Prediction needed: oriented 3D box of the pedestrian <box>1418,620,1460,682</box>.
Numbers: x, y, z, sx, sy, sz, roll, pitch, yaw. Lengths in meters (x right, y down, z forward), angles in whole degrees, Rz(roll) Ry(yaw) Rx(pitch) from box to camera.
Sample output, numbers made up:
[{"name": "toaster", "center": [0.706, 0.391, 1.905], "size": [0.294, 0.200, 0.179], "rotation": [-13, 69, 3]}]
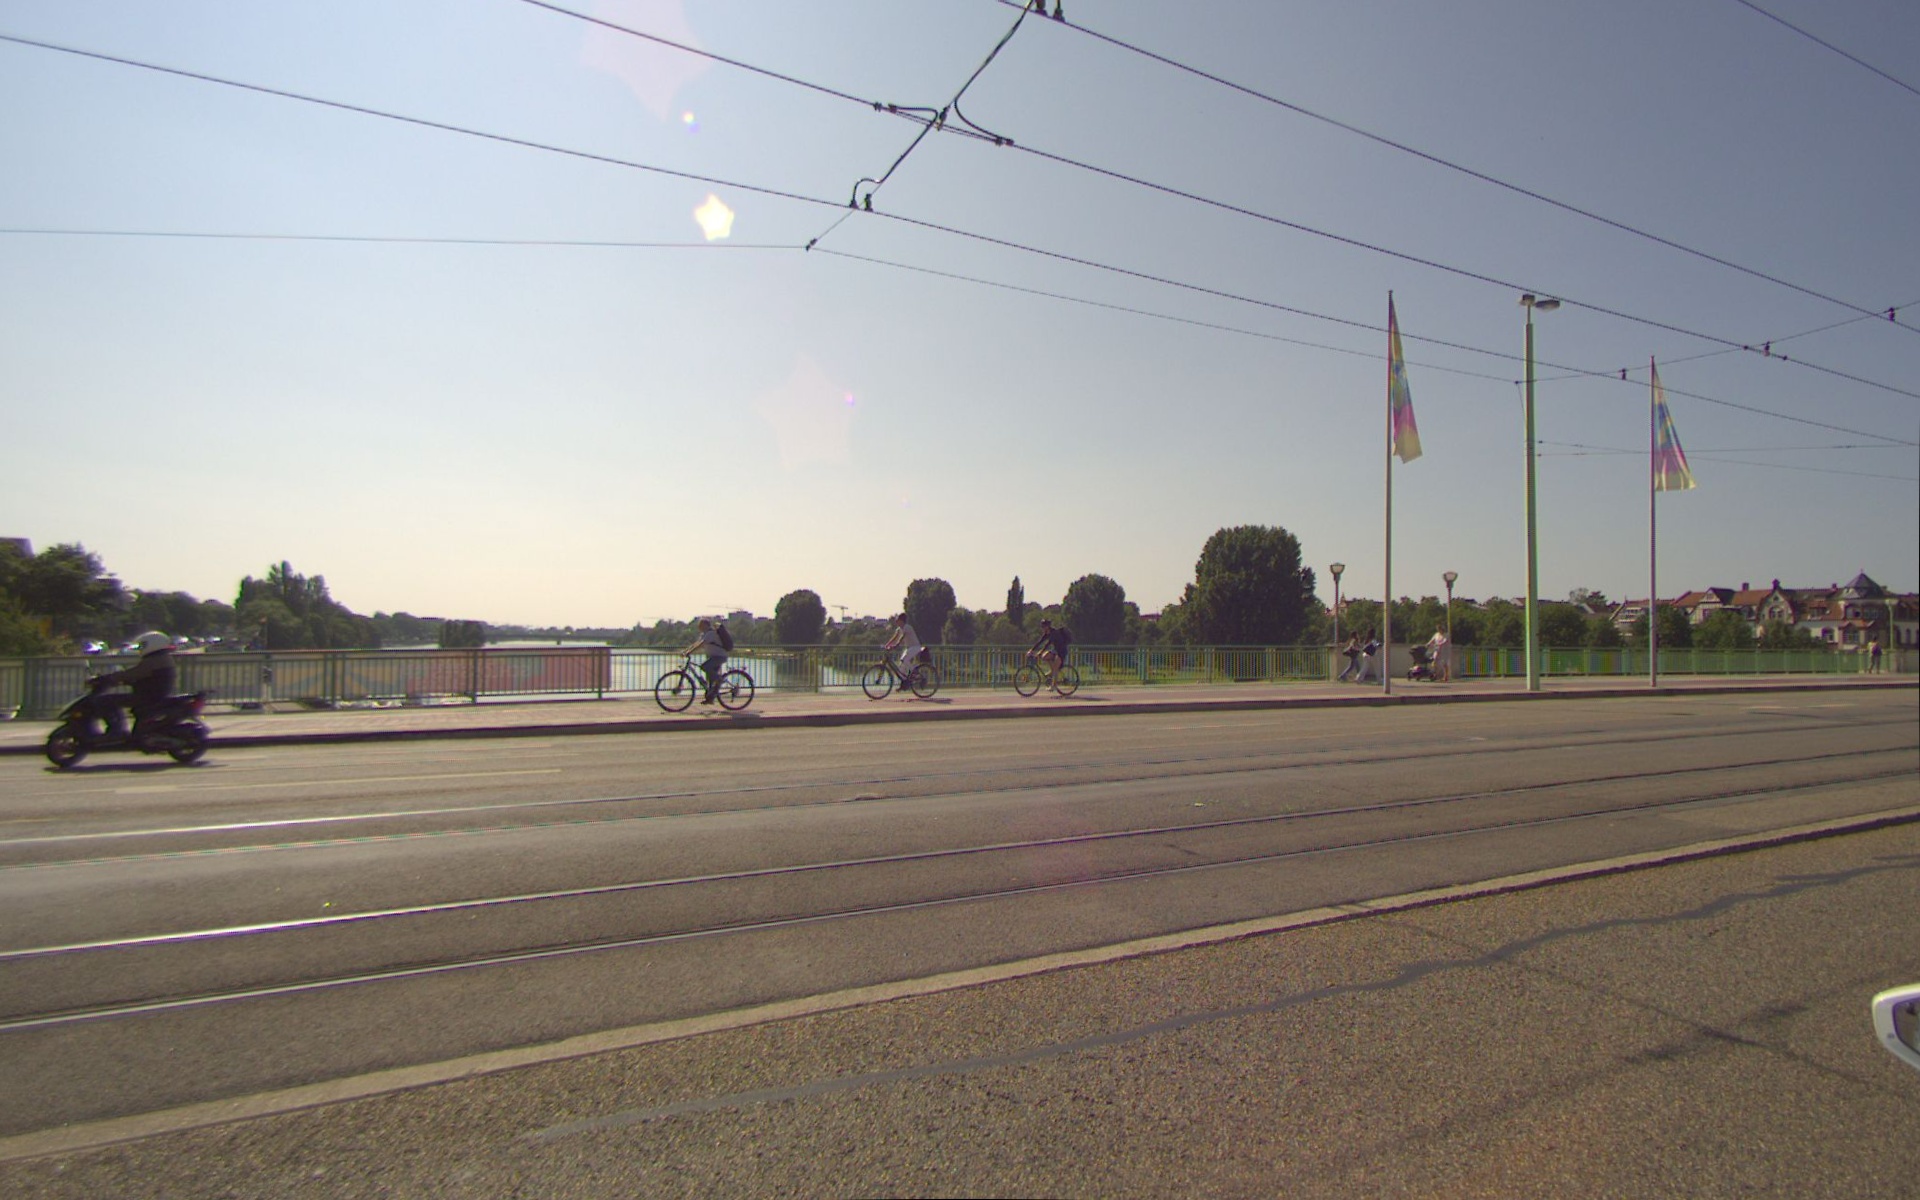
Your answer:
[{"name": "pedestrian", "center": [15.118, 1.606, 31.684], "size": [0.964, 1.878, 0.735], "rotation": [1, 1, -30]}]

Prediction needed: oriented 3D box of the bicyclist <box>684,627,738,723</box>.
[{"name": "bicyclist", "center": [-4.440, 1.309, 17.888], "size": [0.761, 1.630, 0.874], "rotation": [0, 0, -25]}]

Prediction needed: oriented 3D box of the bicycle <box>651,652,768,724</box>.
[{"name": "bicycle", "center": [-4.454, 1.531, 17.871], "size": [1.895, 1.129, 0.756], "rotation": [-1, 1, -26]}]

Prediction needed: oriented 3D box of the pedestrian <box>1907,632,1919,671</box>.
[{"name": "pedestrian", "center": [44.540, 2.384, 46.195], "size": [1.280, 1.781, 1.092], "rotation": [1, -2, -30]}]

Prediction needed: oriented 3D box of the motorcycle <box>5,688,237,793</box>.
[{"name": "motorcycle", "center": [-9.716, 1.598, 11.747], "size": [1.928, 1.038, 0.841], "rotation": [2, -1, -29]}]

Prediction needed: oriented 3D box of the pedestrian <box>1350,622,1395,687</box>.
[{"name": "pedestrian", "center": [11.941, 1.571, 29.076], "size": [0.946, 1.808, 0.735], "rotation": [1, 1, -30]}]

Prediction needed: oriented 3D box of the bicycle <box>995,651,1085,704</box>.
[{"name": "bicycle", "center": [1.791, 1.704, 22.326], "size": [1.896, 1.128, 0.756], "rotation": [2, -3, -28]}]

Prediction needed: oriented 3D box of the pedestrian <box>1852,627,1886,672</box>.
[{"name": "pedestrian", "center": [42.165, 2.284, 46.612], "size": [1.030, 2.040, 0.894], "rotation": [1, -2, -30]}]

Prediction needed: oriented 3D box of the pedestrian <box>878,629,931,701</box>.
[{"name": "pedestrian", "center": [-1.175, 1.364, 21.254], "size": [0.888, 1.474, 0.740], "rotation": [2, -2, -28]}]

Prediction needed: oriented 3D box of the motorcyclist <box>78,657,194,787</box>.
[{"name": "motorcyclist", "center": [-9.648, 1.394, 11.799], "size": [0.887, 1.420, 0.841], "rotation": [1, -1, -30]}]

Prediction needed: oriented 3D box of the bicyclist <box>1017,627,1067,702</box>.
[{"name": "bicyclist", "center": [1.821, 1.416, 22.381], "size": [0.762, 1.630, 0.874], "rotation": [2, -2, -28]}]

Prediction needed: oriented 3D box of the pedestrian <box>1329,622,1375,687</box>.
[{"name": "pedestrian", "center": [11.593, 1.592, 29.730], "size": [1.108, 1.873, 0.735], "rotation": [1, 0, -30]}]

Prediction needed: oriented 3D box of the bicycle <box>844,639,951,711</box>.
[{"name": "bicycle", "center": [-1.314, 1.553, 21.226], "size": [2.138, 1.418, 0.701], "rotation": [1, 2, -31]}]

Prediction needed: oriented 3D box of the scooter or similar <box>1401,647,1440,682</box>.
[{"name": "scooter or similar", "center": [14.331, 1.997, 31.232], "size": [0.823, 1.043, 0.735], "rotation": [1, 1, -30]}]
